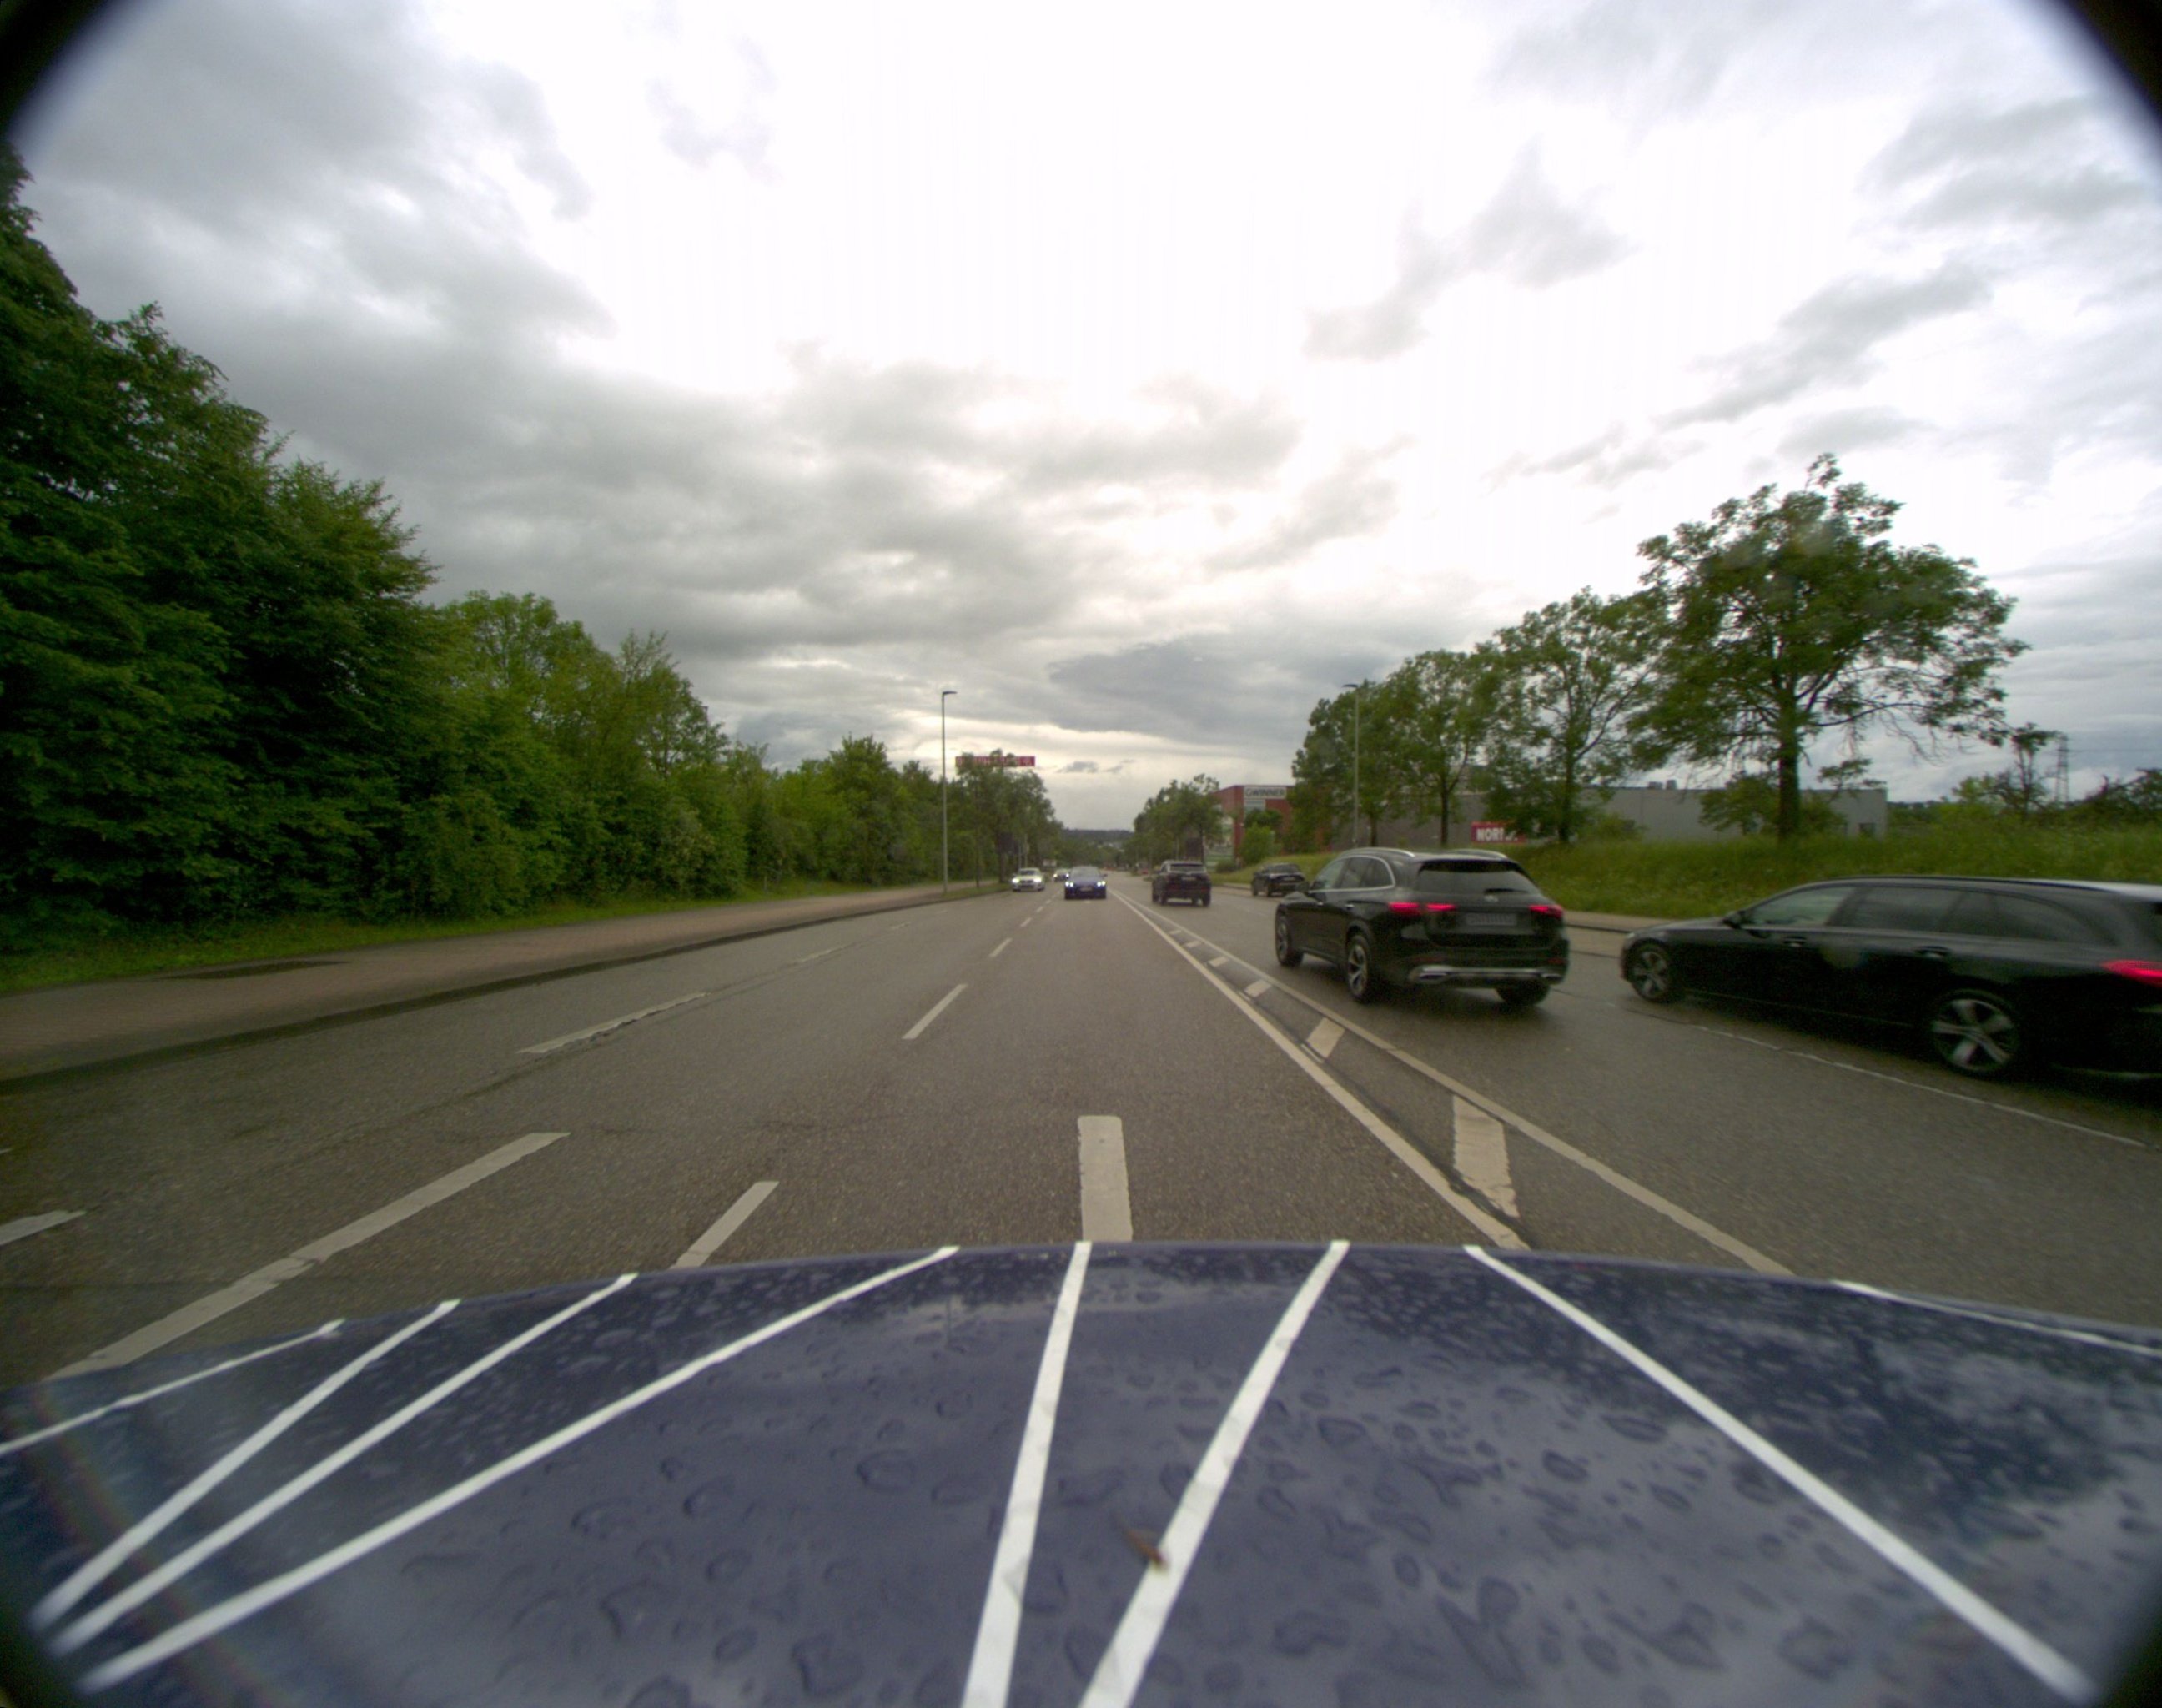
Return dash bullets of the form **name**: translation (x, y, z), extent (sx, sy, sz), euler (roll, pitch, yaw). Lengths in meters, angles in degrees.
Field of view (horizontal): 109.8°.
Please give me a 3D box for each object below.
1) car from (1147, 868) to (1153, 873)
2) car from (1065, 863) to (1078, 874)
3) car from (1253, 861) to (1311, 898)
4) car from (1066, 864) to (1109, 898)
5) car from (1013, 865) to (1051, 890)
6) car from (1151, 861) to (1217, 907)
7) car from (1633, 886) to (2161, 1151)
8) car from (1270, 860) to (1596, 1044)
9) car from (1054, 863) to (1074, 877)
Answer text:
- **car**: translation (21.824, 5.176, 241.267), extent (1.740, 1.445, 4.003), euler (2, -1, 6)
- **car**: translation (-1.480, 2.271, 116.619), extent (1.853, 1.565, 3.999), euler (-1, 0, -1)
- **car**: translation (9.977, 1.235, 38.033), extent (1.730, 1.658, 4.488), euler (-2, -1, 0)
- **car**: translation (0.369, 1.206, 35.179), extent (1.827, 1.473, 4.842), euler (1, -1, 3)
- **car**: translation (-3.063, 1.468, 48.575), extent (1.863, 1.473, 4.002), euler (-1, -1, 5)
- **car**: translation (3.762, 1.058, 28.470), extent (1.800, 1.574, 4.198), euler (1, -1, -1)
- **car**: translation (7.075, 1.056, 6.207), extent (1.798, 1.393, 4.299), euler (1, 0, -4)
- **car**: translation (3.687, 0.898, 8.951), extent (1.827, 1.598, 4.284), euler (1, 0, 0)
- **car**: translation (-2.072, 1.905, 92.349), extent (2.113, 1.609, 4.842), euler (0, -1, 3)
